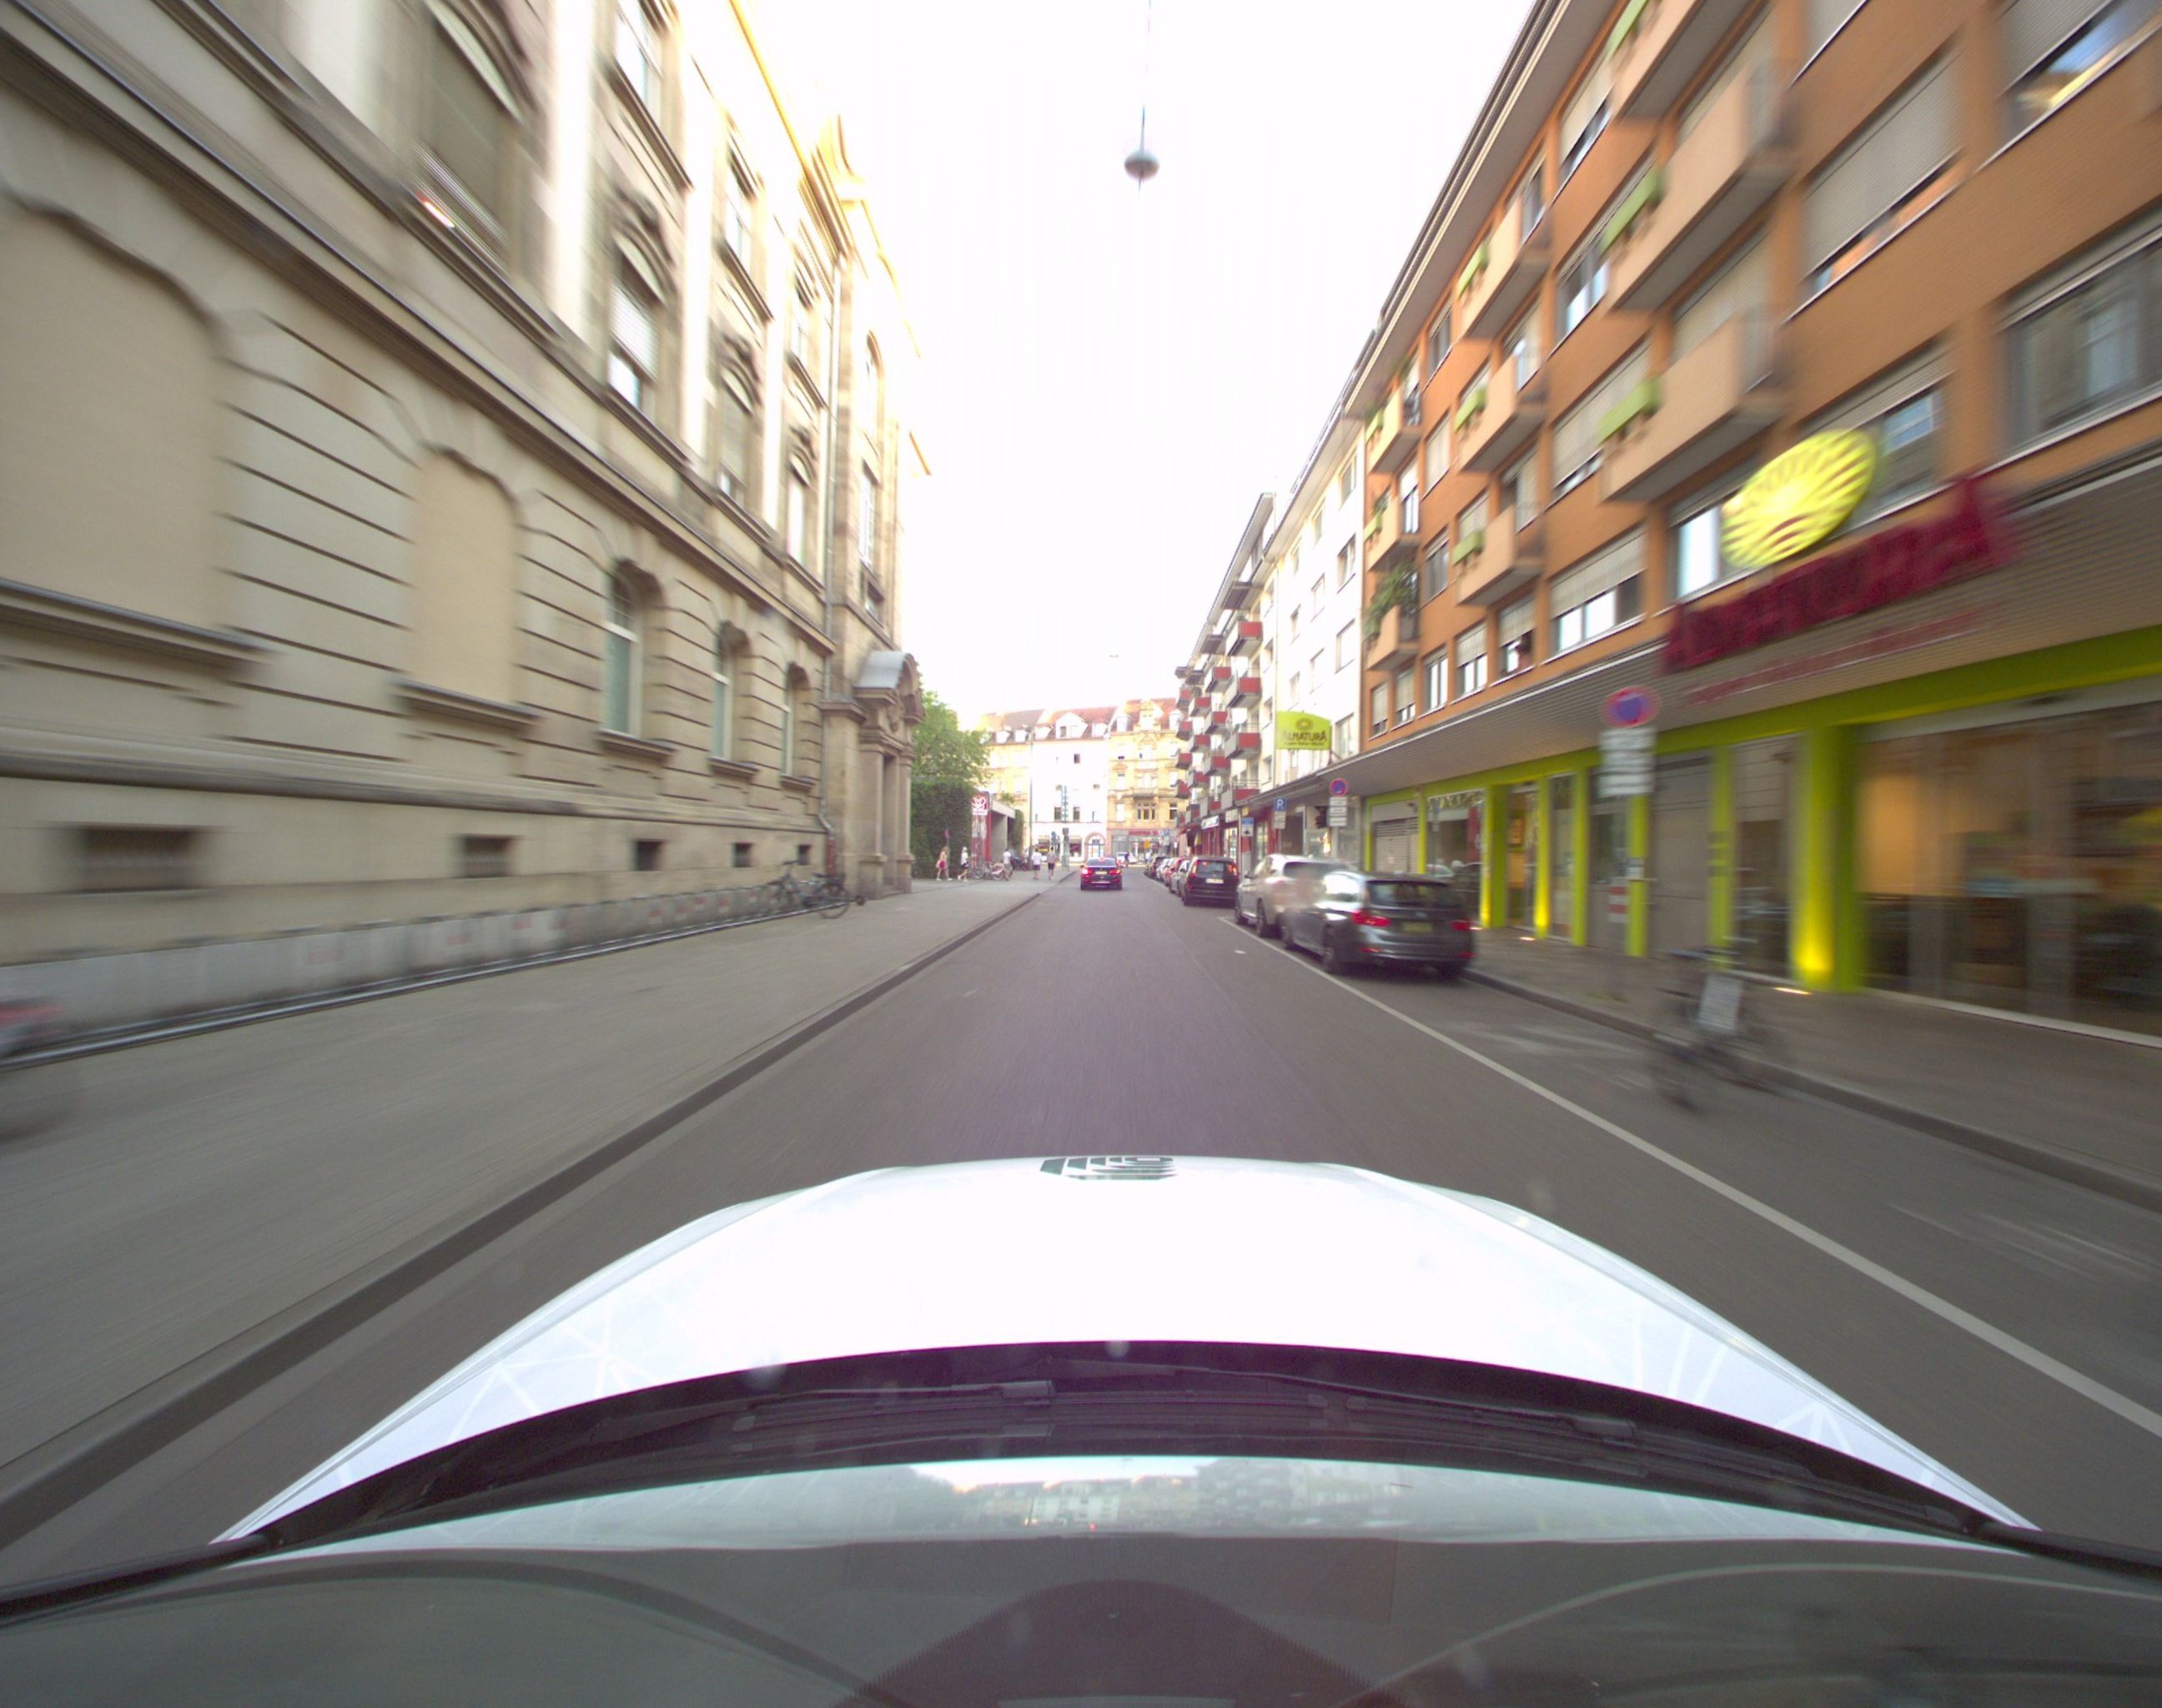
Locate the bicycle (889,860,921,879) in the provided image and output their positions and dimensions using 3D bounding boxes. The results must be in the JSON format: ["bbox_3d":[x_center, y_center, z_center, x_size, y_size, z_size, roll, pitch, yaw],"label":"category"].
[{"bbox_3d":[-9.410,0.824,43.558,1.653,1.013,0.371,1,0,2],"label":"bicycle"}]

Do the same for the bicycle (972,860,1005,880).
[{"bbox_3d":[-5.149,0.890,45.397,1.788,1.107,0.500,1,0,0],"label":"bicycle"}]

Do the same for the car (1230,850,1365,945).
[{"bbox_3d":[4.457,0.794,17.481,1.745,1.668,4.759,3,0,2],"label":"car"}]

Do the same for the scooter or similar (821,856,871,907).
[{"bbox_3d":[-5.879,0.693,20.420,1.133,1.232,0.495,2,0,-11],"label":"scooter or similar"}]

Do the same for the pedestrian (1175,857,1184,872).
[{"bbox_3d":[8.450,0.886,69.857,0.682,1.286,0.610,-1,-1,11],"label":"pedestrian"}]

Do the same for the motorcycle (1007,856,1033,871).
[{"bbox_3d":[-4.648,0.706,62.357,1.783,1.064,0.769,2,0,27],"label":"motorcycle"}]

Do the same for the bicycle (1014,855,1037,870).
[{"bbox_3d":[-4.421,0.681,65.131,1.790,1.107,0.499,2,0,-4],"label":"bicycle"}]

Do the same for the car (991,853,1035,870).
[{"bbox_3d":[-6.273,0.690,74.719,3.982,1.501,1.887,0,0,-7],"label":"car"}]

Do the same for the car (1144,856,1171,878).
[{"bbox_3d":[5.780,0.952,62.107,1.758,1.502,4.793,3,0,2],"label":"car"}]

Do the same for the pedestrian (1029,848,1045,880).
[{"bbox_3d":[-2.548,0.557,46.943,0.738,1.812,1.009,3,0,1],"label":"pedestrian"}]

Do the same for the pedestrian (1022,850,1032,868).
[{"bbox_3d":[-5.262,0.459,79.393,0.665,1.746,0.661,0,0,41],"label":"pedestrian"}]

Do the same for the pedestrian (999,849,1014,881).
[{"bbox_3d":[-4.077,0.615,44.740,0.714,1.754,0.848,1,0,0],"label":"pedestrian"}]

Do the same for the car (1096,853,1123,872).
[{"bbox_3d":[2.244,0.649,64.054,1.868,1.473,4.006,0,0,6],"label":"car"}]

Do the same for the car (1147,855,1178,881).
[{"bbox_3d":[5.593,0.918,56.216,1.758,1.642,4.793,3,0,2],"label":"car"}]

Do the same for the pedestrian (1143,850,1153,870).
[{"bbox_3d":[6.573,0.584,79.542,0.681,1.877,0.693,1,0,-36],"label":"pedestrian"}]

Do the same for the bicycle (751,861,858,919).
[{"bbox_3d":[-5.607,0.736,16.623,1.939,1.061,0.617,4,-1,-14],"label":"bicycle"}]

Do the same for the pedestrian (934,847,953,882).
[{"bbox_3d":[-7.040,0.516,41.615,0.750,1.749,0.847,2,0,1],"label":"pedestrian"}]

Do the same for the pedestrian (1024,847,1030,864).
[{"bbox_3d":[-5.197,0.175,78.038,0.498,1.643,0.521,0,0,4],"label":"pedestrian"}]

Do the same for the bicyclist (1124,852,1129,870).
[{"bbox_3d":[4.518,0.679,80.958,0.521,1.756,0.620,1,0,4],"label":"bicyclist"}]

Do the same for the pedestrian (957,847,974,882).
[{"bbox_3d":[-5.861,0.519,41.380,0.646,1.750,0.986,1,0,1],"label":"pedestrian"}]

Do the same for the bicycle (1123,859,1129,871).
[{"bbox_3d":[4.506,1.110,80.979,0.534,1.107,1.802,1,0,4],"label":"bicycle"}]

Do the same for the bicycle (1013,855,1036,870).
[{"bbox_3d":[-4.467,0.678,64.382,1.786,1.107,0.501,2,0,3],"label":"bicycle"}]

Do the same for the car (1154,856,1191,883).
[{"bbox_3d":[5.549,0.907,49.676,1.693,1.452,4.458,3,0,0],"label":"car"}]

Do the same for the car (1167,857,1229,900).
[{"bbox_3d":[4.511,0.909,32.112,1.731,1.415,4.682,3,0,0],"label":"car"}]

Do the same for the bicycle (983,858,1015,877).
[{"bbox_3d":[-4.859,0.799,48.202,1.786,1.107,0.501,1,0,4],"label":"bicycle"}]

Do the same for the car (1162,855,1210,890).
[{"bbox_3d":[5.102,0.850,39.968,1.706,1.512,4.652,3,0,0],"label":"car"}]

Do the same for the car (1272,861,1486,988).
[{"bbox_3d":[4.263,0.900,12.513,1.685,1.414,4.759,3,0,2],"label":"car"}]

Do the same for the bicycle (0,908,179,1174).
[{"bbox_3d":[-5.512,0.792,3.750,1.931,1.061,0.619,2,-1,-1],"label":"bicycle"}]

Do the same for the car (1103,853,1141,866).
[{"bbox_3d":[5.027,0.729,100.319,4.312,1.562,1.879,0,-1,24],"label":"car"}]

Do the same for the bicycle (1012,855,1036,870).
[{"bbox_3d":[-4.482,0.679,63.788,1.788,1.107,0.500,2,0,0],"label":"bicycle"}]

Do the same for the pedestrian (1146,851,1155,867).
[{"bbox_3d":[6.909,0.464,80.567,0.735,1.513,0.648,2,0,-7],"label":"pedestrian"}]

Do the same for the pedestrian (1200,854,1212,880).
[{"bbox_3d":[8.223,0.822,53.526,0.645,1.661,0.794,-2,0,3],"label":"pedestrian"}]

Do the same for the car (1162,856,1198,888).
[{"bbox_3d":[5.361,0.942,44.499,1.600,1.512,4.051,3,0,3],"label":"car"}]

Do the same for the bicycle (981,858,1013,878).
[{"bbox_3d":[-4.896,0.791,47.570,1.786,1.107,0.501,1,0,4],"label":"bicycle"}]

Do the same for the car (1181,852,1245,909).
[{"bbox_3d":[4.249,0.800,26.738,1.785,1.609,4.494,3,0,6],"label":"car"}]

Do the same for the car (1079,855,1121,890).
[{"bbox_3d":[0.894,0.792,36.614,1.758,1.375,4.793,1,0,2],"label":"car"}]

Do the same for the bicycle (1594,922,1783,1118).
[{"bbox_3d":[4.258,1.057,5.660,1.746,1.055,0.652,2,0,-40],"label":"bicycle"}]

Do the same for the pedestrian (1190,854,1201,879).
[{"bbox_3d":[7.528,0.820,53.570,0.645,1.661,0.656,-2,0,3],"label":"pedestrian"}]

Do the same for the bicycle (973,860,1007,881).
[{"bbox_3d":[-5.032,0.894,45.049,1.787,1.107,0.500,1,0,1],"label":"bicycle"}]

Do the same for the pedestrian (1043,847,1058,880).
[{"bbox_3d":[-1.747,0.528,47.235,0.741,1.893,1.051,2,0,2],"label":"pedestrian"}]

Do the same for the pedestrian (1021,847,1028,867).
[{"bbox_3d":[-5.455,0.297,78.681,0.580,1.882,0.635,0,0,7],"label":"pedestrian"}]

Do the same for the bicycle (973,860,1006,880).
[{"bbox_3d":[-5.134,0.896,45.933,1.788,1.107,0.500,1,0,0],"label":"bicycle"}]
